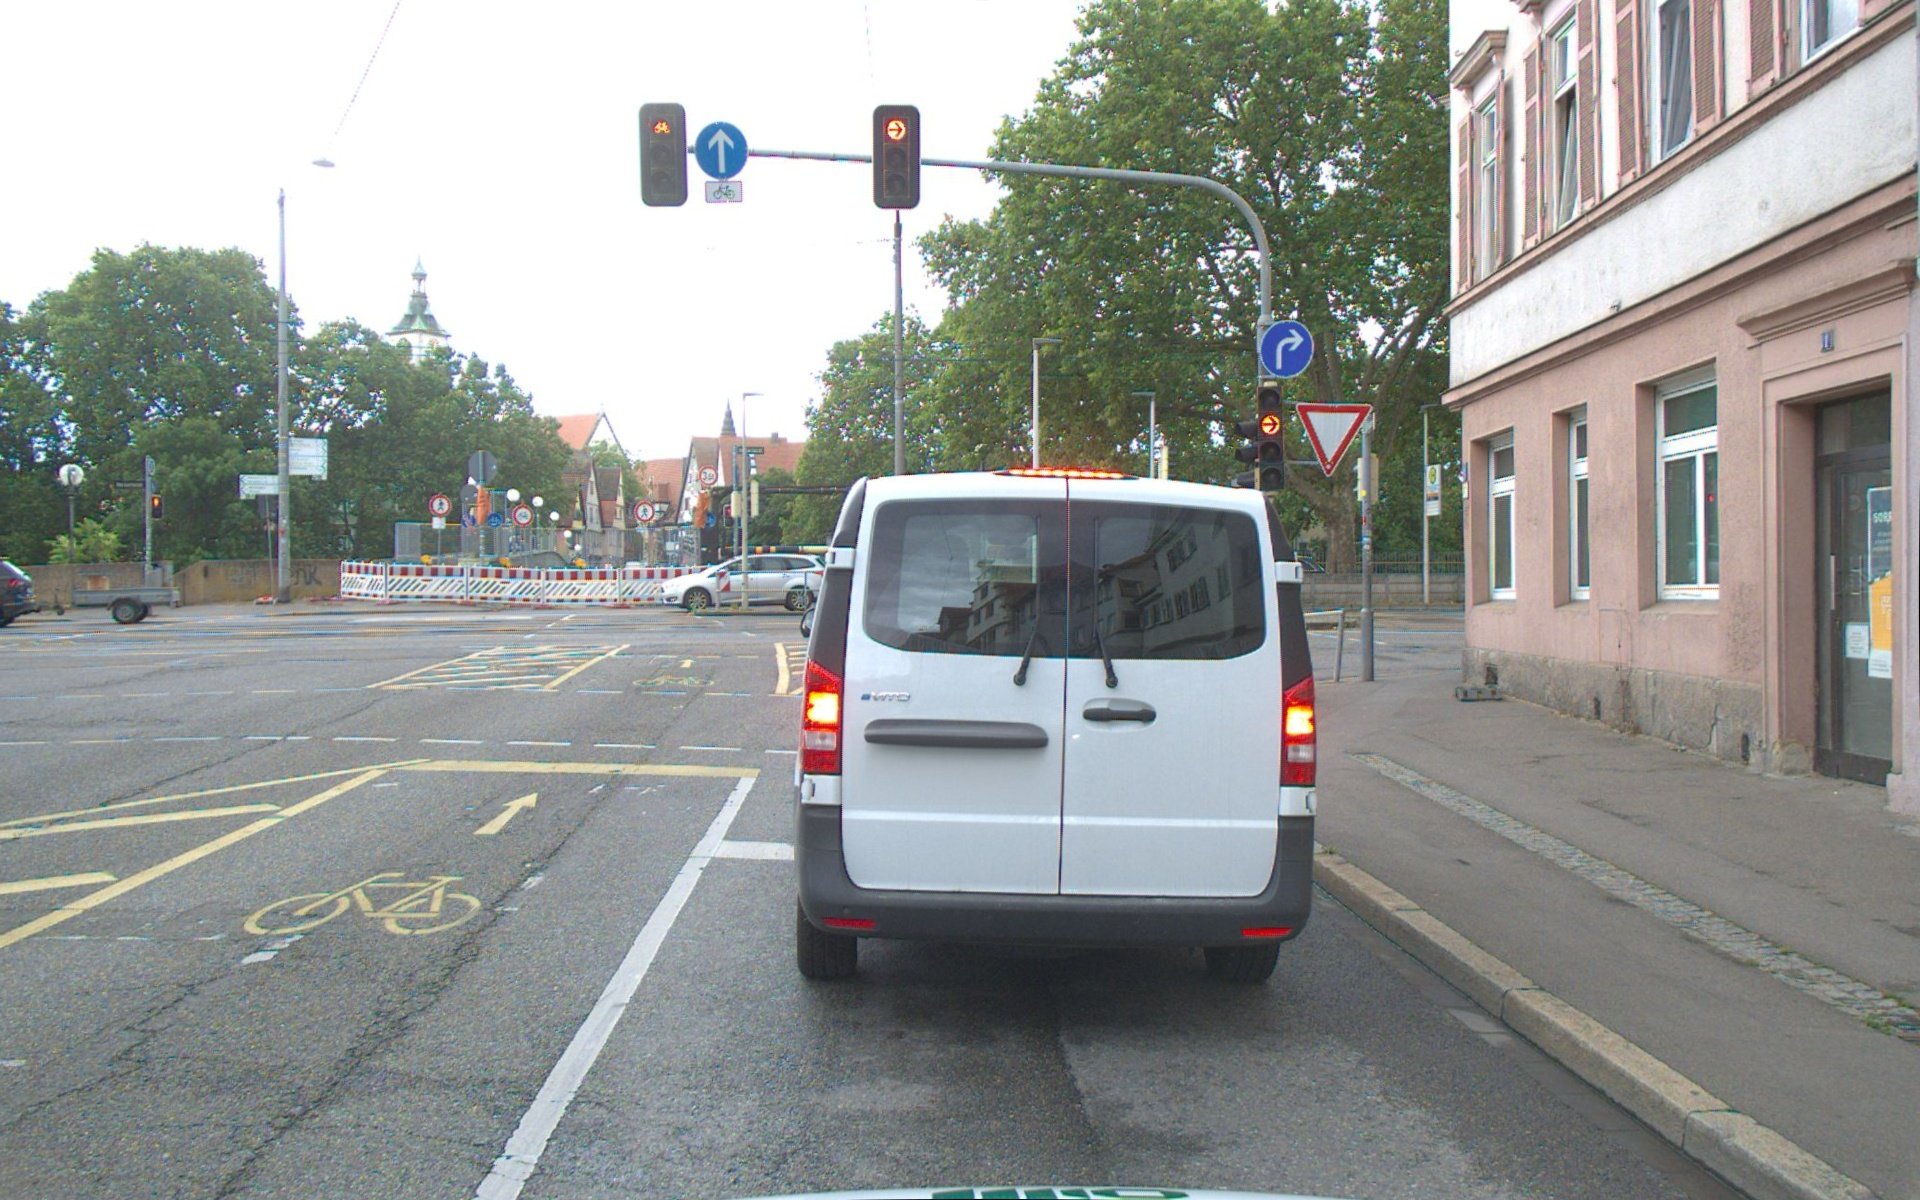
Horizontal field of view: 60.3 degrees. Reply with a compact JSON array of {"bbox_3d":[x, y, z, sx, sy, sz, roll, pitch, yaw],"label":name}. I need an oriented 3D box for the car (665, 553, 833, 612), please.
[{"bbox_3d":[-5.487,-0.440,42.771,4.200,1.478,1.894,0,0,-12],"label":"car"}]

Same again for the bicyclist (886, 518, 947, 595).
[{"bbox_3d":[-1.269,-1.238,47.851,1.538,2.194,1.243,0,0,-15],"label":"bicyclist"}]

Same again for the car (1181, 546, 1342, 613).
[{"bbox_3d":[8.263,-0.530,45.458,3.915,1.771,1.995,0,-1,-11],"label":"car"}]

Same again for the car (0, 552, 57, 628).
[{"bbox_3d":[-23.055,-0.170,37.255,4.452,1.662,1.989,-2,0,-20],"label":"car"}]

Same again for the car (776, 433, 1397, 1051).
[{"bbox_3d":[0.346,0.389,7.393,1.953,1.956,4.248,1,2,-2],"label":"car"}]

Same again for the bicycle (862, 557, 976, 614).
[{"bbox_3d":[-1.200,-0.418,47.939,3.092,1.597,1.465,0,0,-15],"label":"bicycle"}]

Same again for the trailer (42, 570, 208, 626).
[{"bbox_3d":[-19.394,-0.075,38.568,3.152,1.178,1.990,-1,2,-19],"label":"trailer"}]
